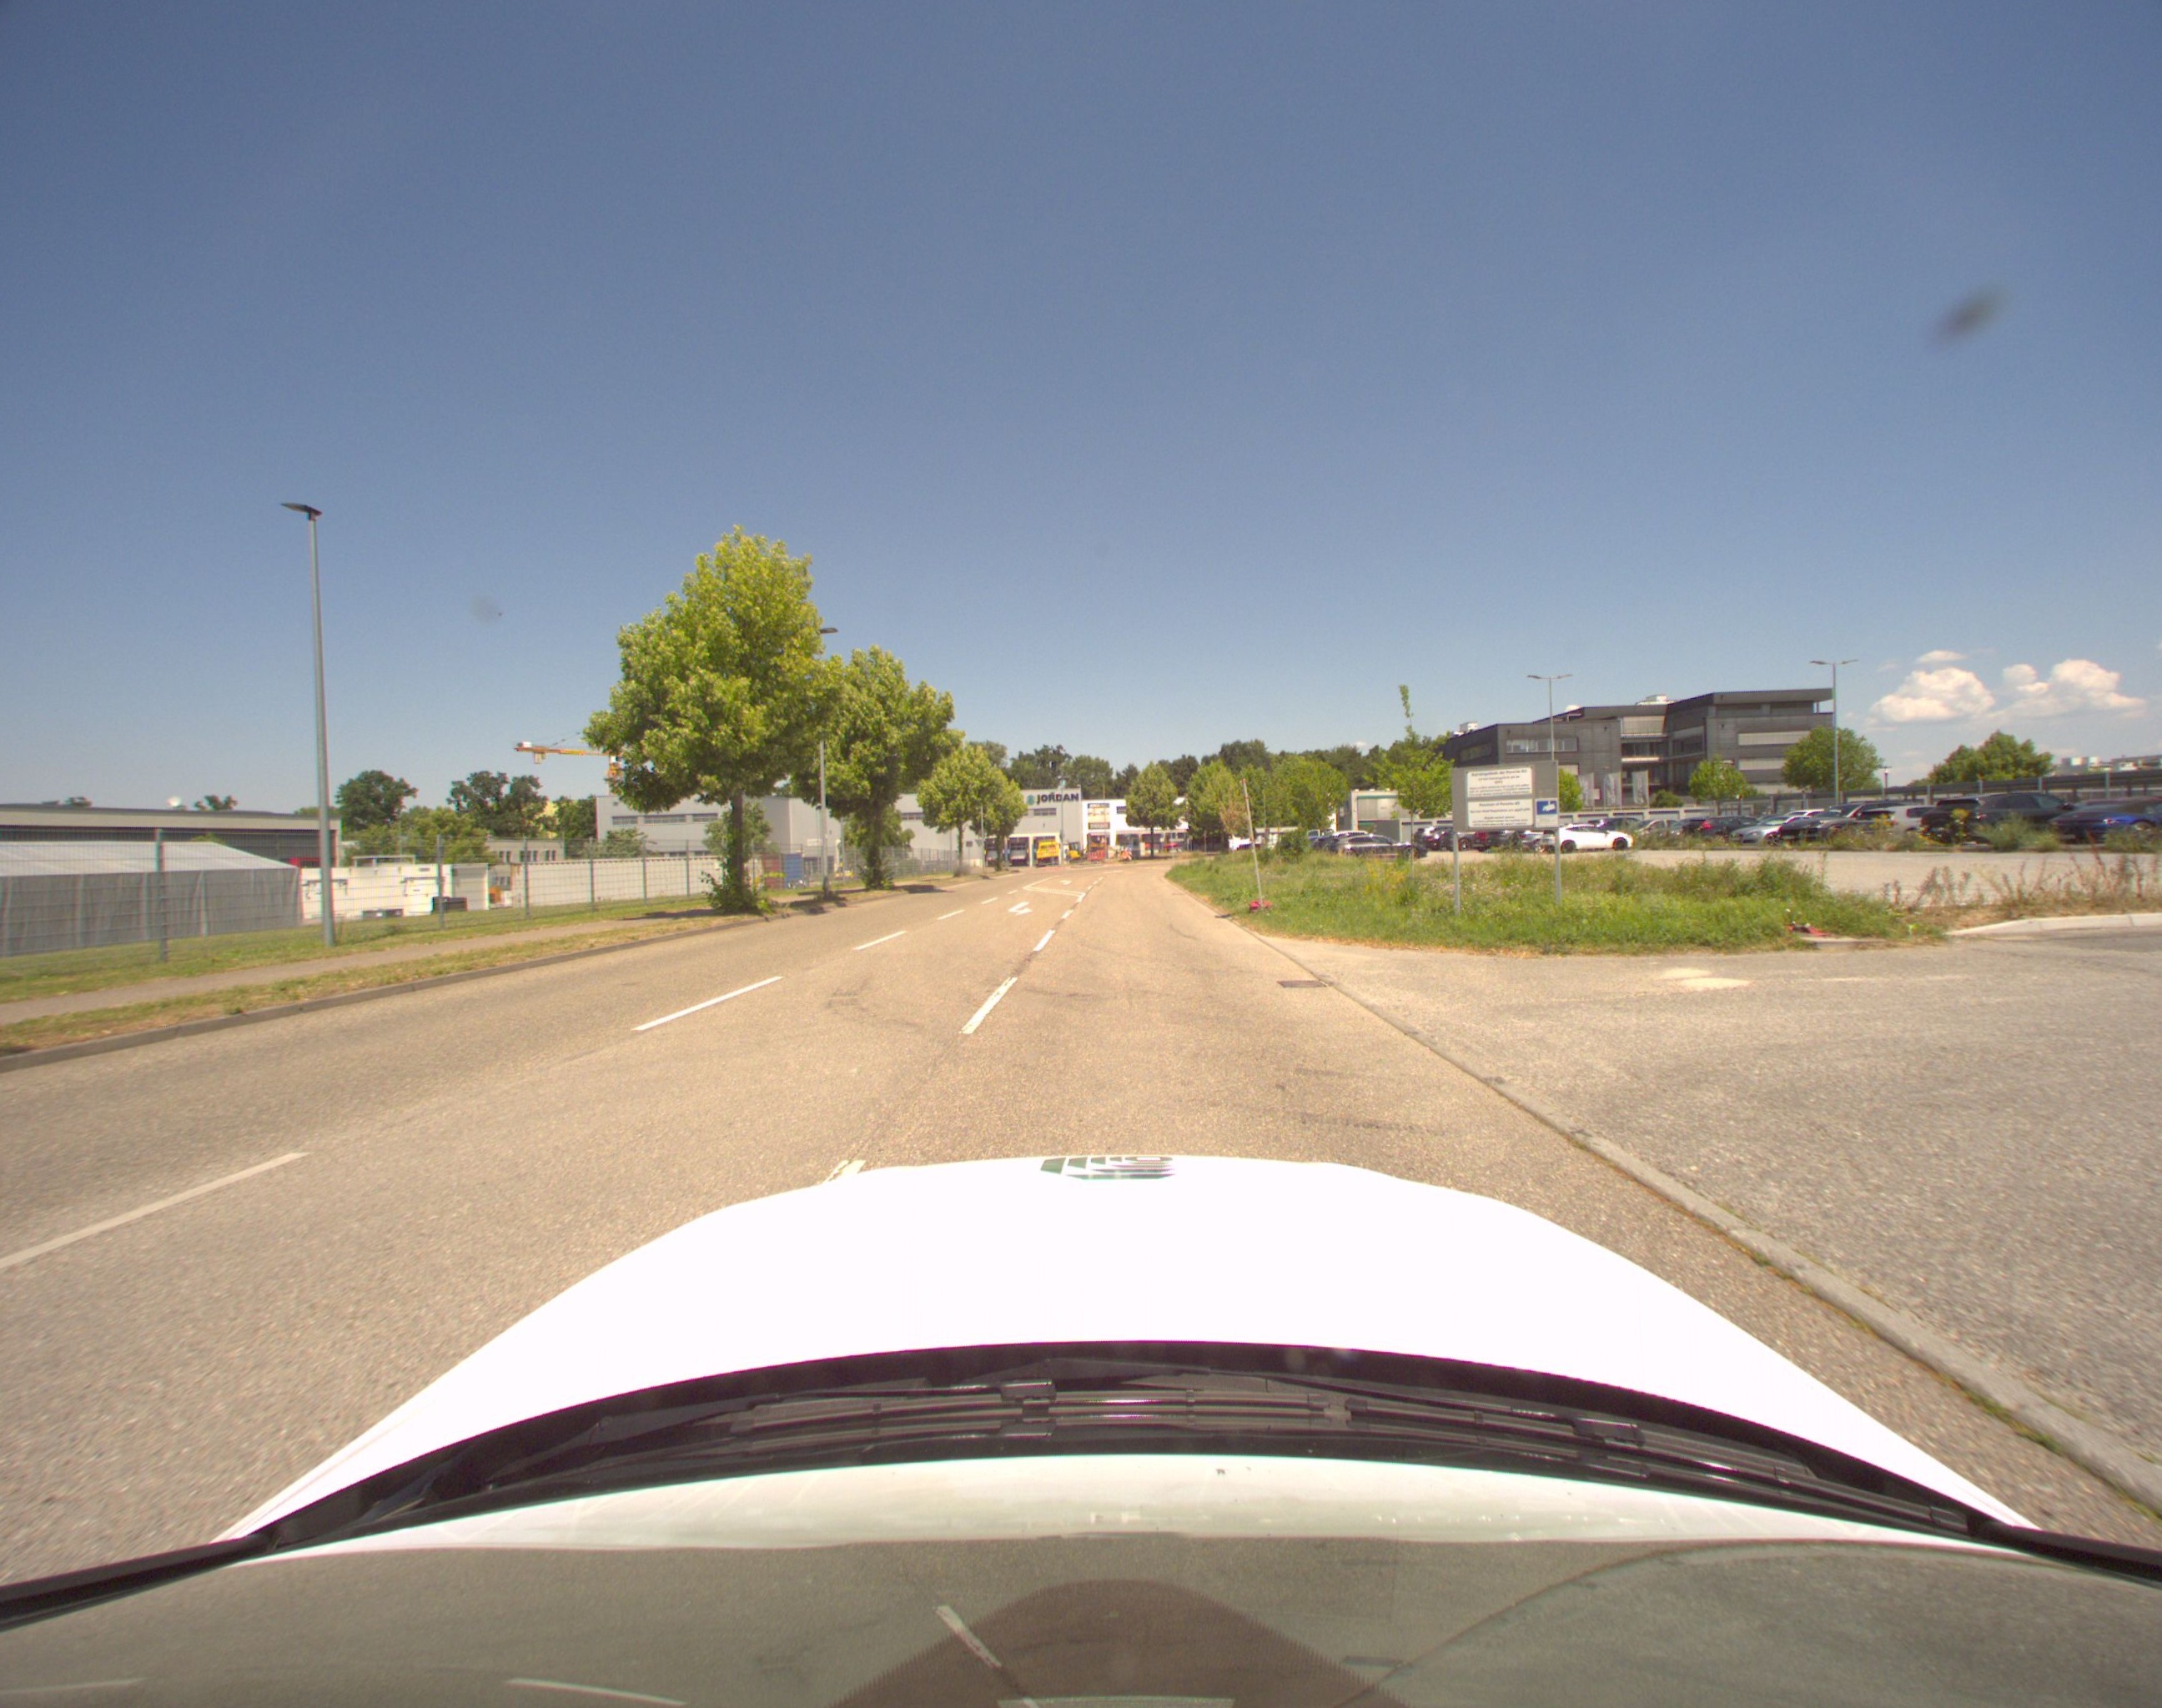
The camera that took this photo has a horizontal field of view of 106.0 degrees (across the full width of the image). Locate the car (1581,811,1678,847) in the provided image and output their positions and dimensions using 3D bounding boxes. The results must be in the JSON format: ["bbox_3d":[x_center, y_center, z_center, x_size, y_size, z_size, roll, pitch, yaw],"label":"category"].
[{"bbox_3d":[29.013,-1.364,43.129,3.975,1.595,1.768,-4,3,-1],"label":"car"}]

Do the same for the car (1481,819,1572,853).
[{"bbox_3d":[24.067,-1.000,44.098,3.975,1.490,1.768,-4,3,-1],"label":"car"}]

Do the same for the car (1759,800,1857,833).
[{"bbox_3d":[40.749,-2.119,45.676,3.975,1.595,1.768,-4,3,-1],"label":"car"}]

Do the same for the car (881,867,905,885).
[{"bbox_3d":[-21.646,2.531,93.804,1.990,1.551,3.995,-4,4,-4],"label":"car"}]

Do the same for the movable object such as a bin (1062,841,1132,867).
[{"bbox_3d":[1.934,-0.020,95.000,7.479,2.499,3.678,-3,4,10],"label":"movable object such as a bin"}]

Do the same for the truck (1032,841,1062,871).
[{"bbox_3d":[-3.998,0.186,94.755,2.935,2.885,5.799,-4,4,-6],"label":"truck"}]

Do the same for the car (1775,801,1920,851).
[{"bbox_3d":[29.341,-1.092,31.251,3.975,1.595,1.768,-4,3,-1],"label":"car"}]

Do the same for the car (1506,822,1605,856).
[{"bbox_3d":[24.048,-0.798,41.343,3.975,1.400,1.768,-4,3,-1],"label":"car"}]

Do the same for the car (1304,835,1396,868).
[{"bbox_3d":[13.990,-0.153,42.451,4.151,1.400,1.768,-4,3,-1],"label":"car"}]

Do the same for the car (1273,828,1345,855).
[{"bbox_3d":[14.846,-0.841,53.130,4.151,1.400,1.768,-4,3,-1],"label":"car"}]

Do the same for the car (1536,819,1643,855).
[{"bbox_3d":[24.198,-0.853,38.824,3.974,1.400,1.769,-4,3,0],"label":"car"}]

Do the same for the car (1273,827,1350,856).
[{"bbox_3d":[13.976,-0.794,49.539,4.151,1.400,1.768,-4,3,-1],"label":"car"}]

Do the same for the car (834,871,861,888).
[{"bbox_3d":[-26.688,2.886,93.151,1.990,1.551,3.995,-4,4,-4],"label":"car"}]

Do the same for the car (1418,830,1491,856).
[{"bbox_3d":[24.793,-0.719,54.137,3.975,1.400,1.768,-4,3,-1],"label":"car"}]

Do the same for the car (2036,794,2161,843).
[{"bbox_3d":[29.395,-1.016,22.540,3.975,1.108,1.768,-4,3,-1],"label":"car"}]

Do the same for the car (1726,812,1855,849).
[{"bbox_3d":[29.890,-1.023,34.387,3.975,1.271,1.768,-4,3,-1],"label":"car"}]

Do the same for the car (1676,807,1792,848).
[{"bbox_3d":[29.934,-1.224,37.385,3.975,1.595,1.768,-4,3,-1],"label":"car"}]

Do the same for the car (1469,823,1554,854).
[{"bbox_3d":[24.734,-0.913,46.852,3.975,1.461,1.768,-4,3,-1],"label":"car"}]

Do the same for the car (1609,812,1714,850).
[{"bbox_3d":[28.801,-1.164,40.469,3.975,1.595,1.768,-4,3,-1],"label":"car"}]

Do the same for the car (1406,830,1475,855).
[{"bbox_3d":[24.933,-0.798,56.535,3.975,1.400,1.768,-4,3,-1],"label":"car"}]

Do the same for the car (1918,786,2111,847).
[{"bbox_3d":[28.947,-1.186,25.338,3.975,1.595,1.861,-4,3,-1],"label":"car"}]

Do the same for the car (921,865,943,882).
[{"bbox_3d":[-17.115,2.245,93.846,1.990,1.551,3.995,-4,4,-4],"label":"car"}]

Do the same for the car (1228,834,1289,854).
[{"bbox_3d":[22.295,-1.261,102.487,7.137,2.088,2.003,-3,0,5],"label":"car"}]

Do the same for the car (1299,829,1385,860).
[{"bbox_3d":[14.348,-0.549,44.884,4.151,1.400,1.768,-4,3,-1],"label":"car"}]

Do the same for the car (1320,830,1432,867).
[{"bbox_3d":[14.142,-0.282,39.256,4.682,1.400,1.924,-3,3,4],"label":"car"}]

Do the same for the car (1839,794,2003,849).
[{"bbox_3d":[29.190,-1.160,28.381,3.975,1.595,1.768,-4,3,-1],"label":"car"}]

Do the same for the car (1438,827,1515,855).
[{"bbox_3d":[24.801,-0.840,51.192,3.975,1.400,1.768,-4,3,-1],"label":"car"}]
